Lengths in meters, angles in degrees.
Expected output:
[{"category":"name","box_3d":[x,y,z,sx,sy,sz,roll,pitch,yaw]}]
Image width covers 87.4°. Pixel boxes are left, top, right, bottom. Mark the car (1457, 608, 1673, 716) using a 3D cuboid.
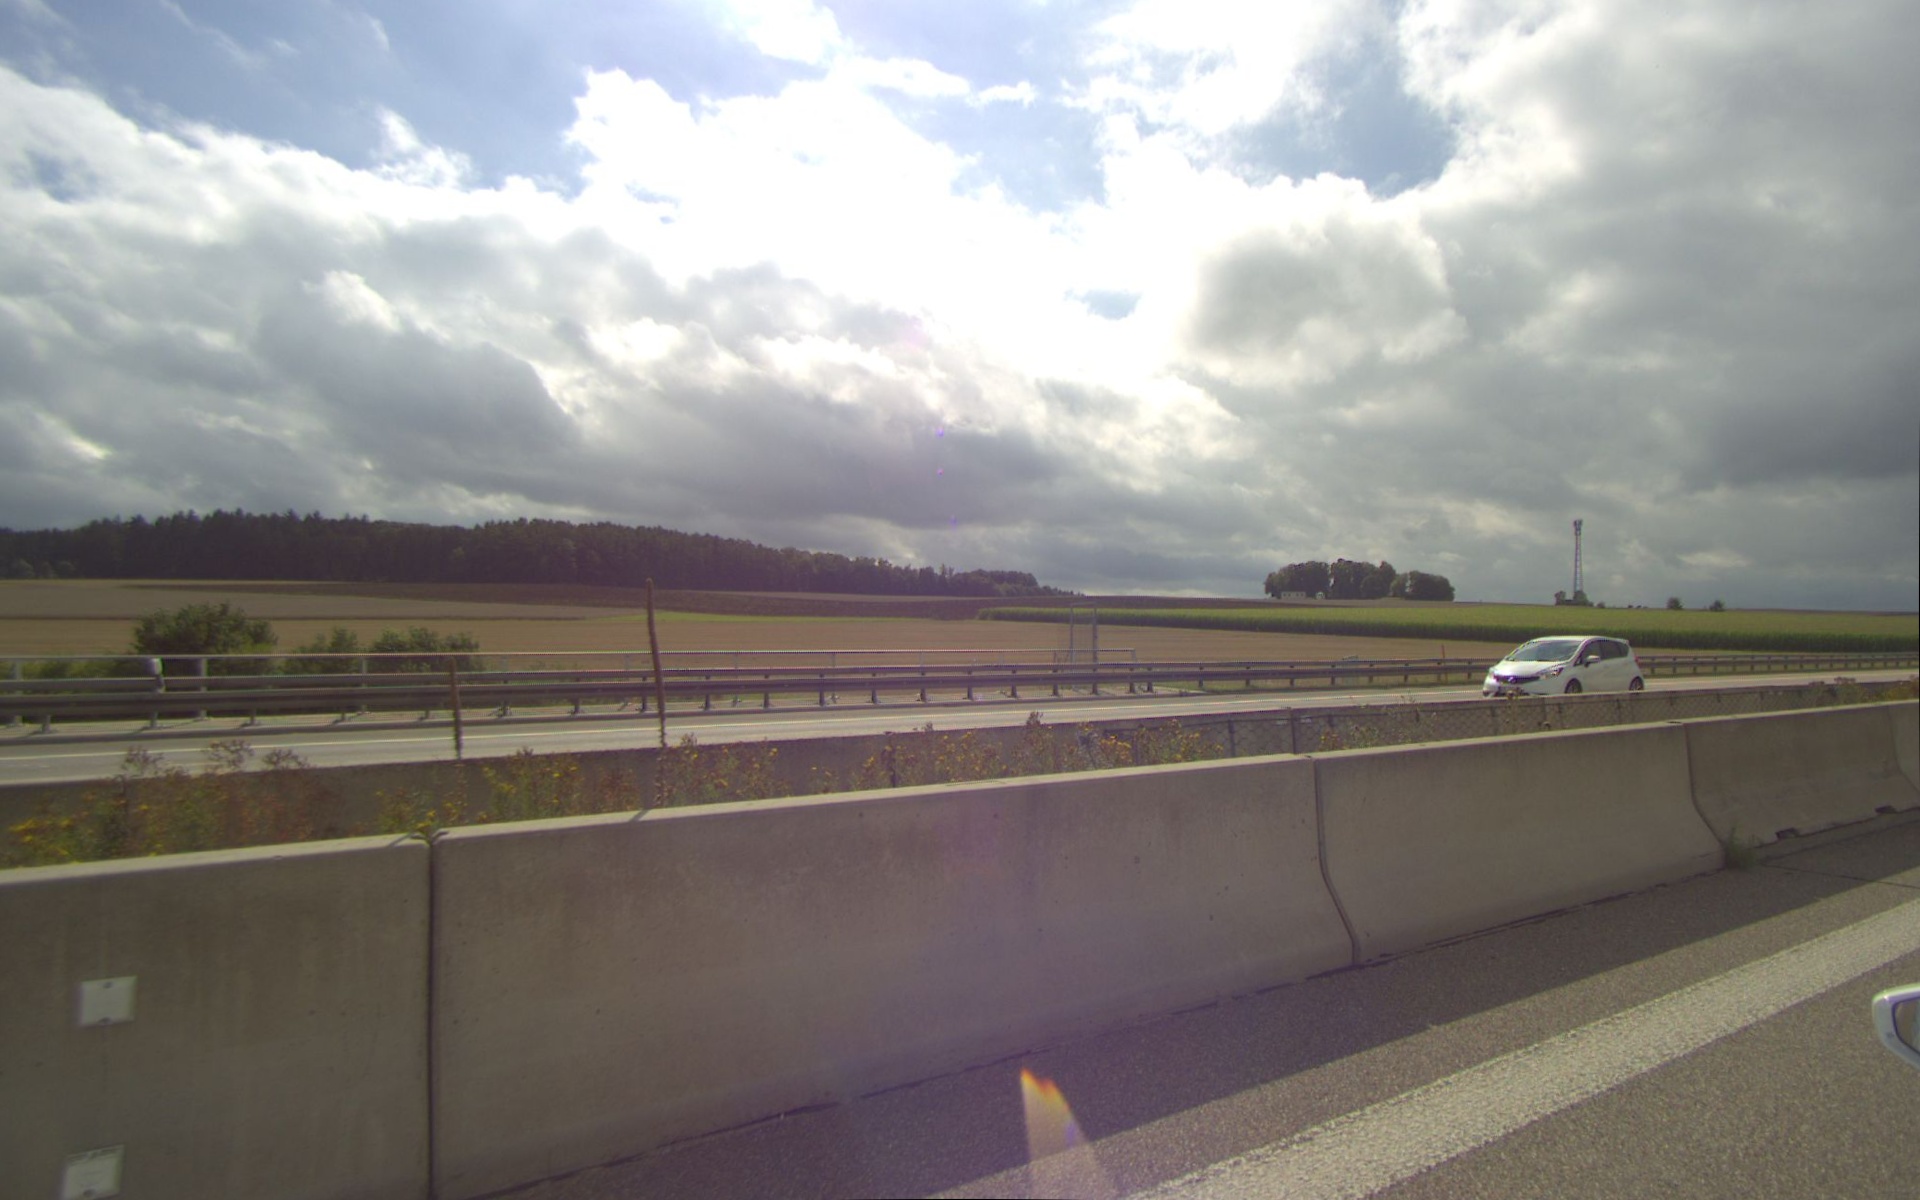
[{"category":"car","box_3d":[13.090,1.282,21.670,4.655,2.097,1.985,1,-2,-30]}]
